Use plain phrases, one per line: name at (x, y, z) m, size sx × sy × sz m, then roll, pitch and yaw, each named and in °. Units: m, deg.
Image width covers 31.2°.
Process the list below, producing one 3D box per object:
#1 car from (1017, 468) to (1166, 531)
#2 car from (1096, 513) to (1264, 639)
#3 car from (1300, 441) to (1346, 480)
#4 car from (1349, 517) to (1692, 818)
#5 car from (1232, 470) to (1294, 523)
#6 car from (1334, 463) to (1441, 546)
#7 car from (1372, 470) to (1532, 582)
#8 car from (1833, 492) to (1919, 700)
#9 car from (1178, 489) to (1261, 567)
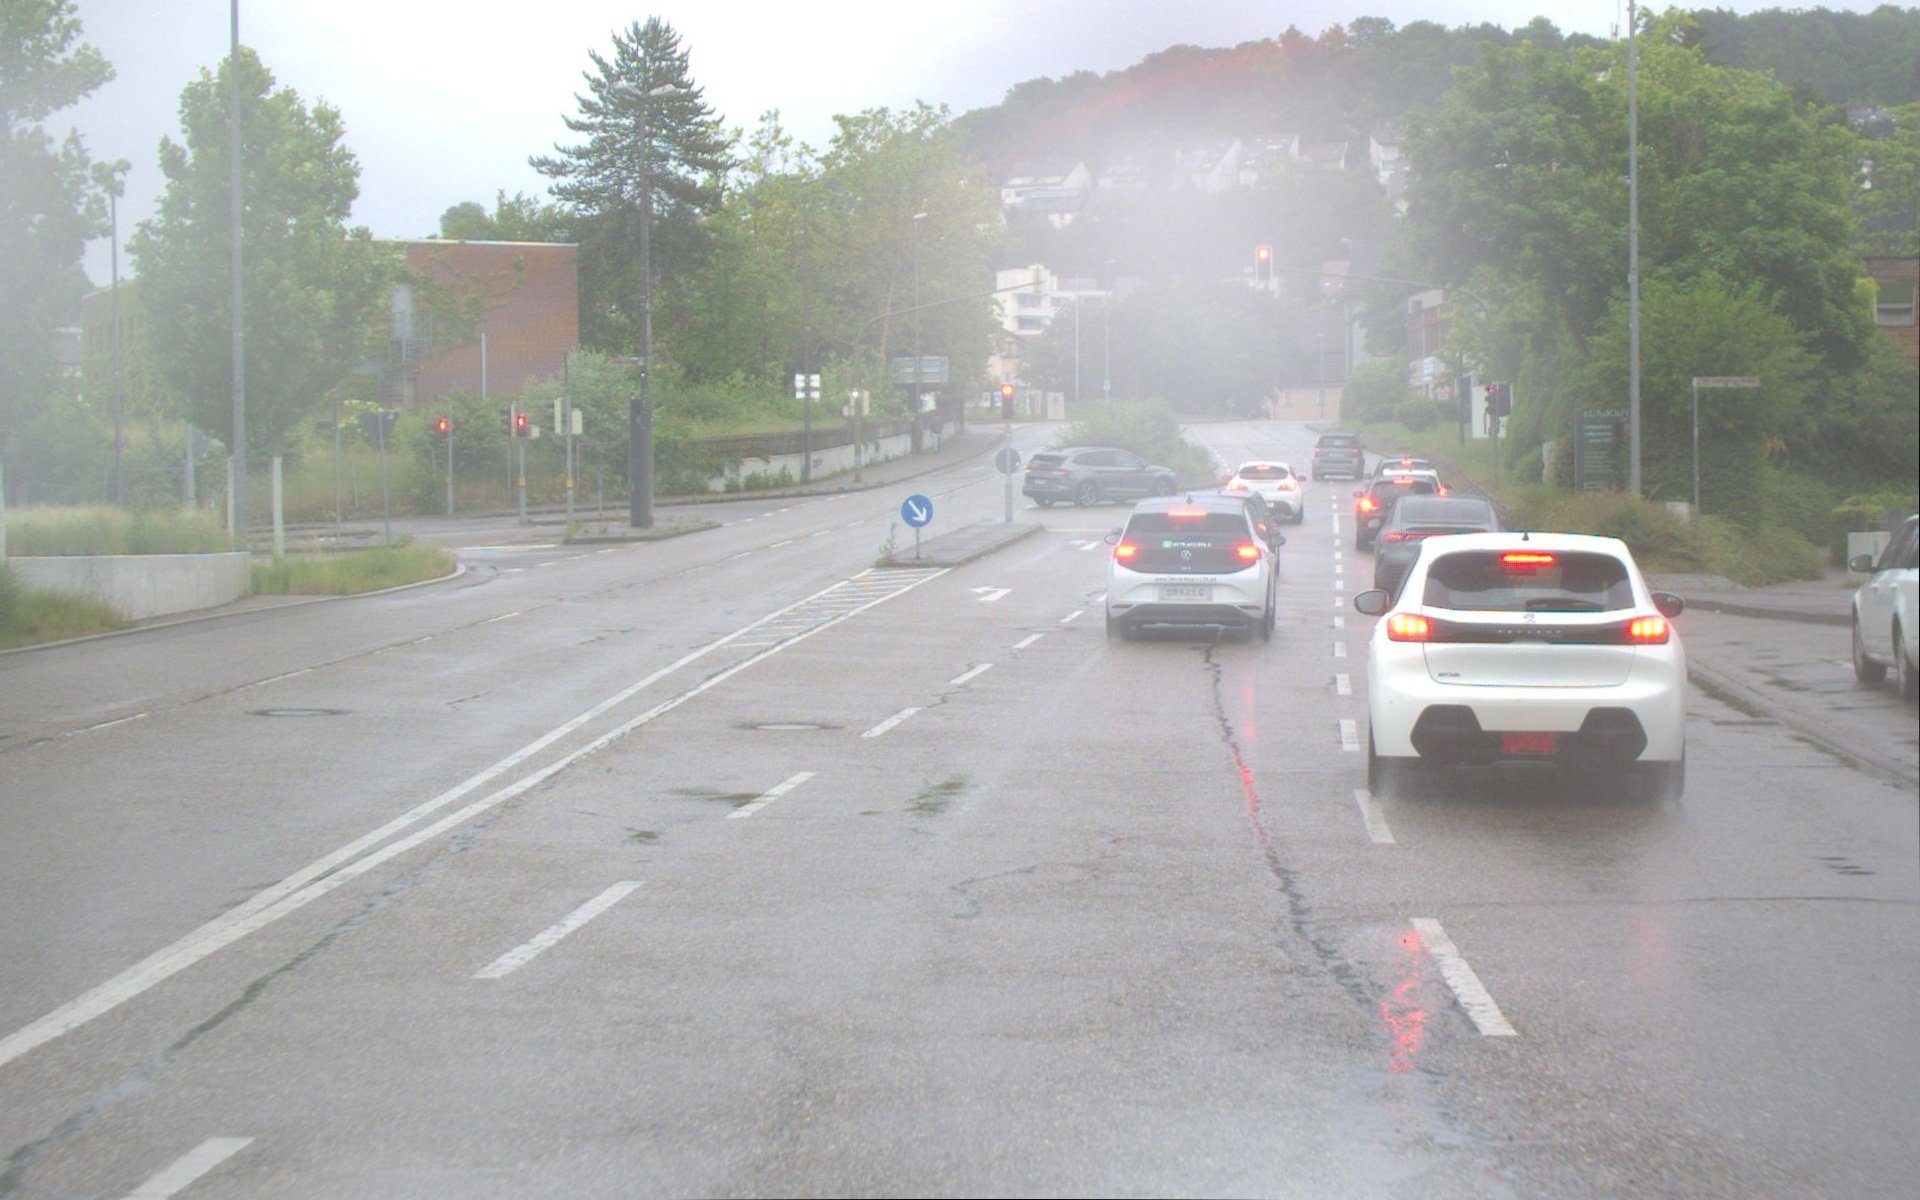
car at (3.527, -2.696, 92.189) m, size 3.514 × 1.564 × 1.800 m, roll -1°, pitch -1°, yaw -28°
car at (2.463, -0.272, 37.986) m, size 1.741 × 1.291 × 3.333 m, roll -1°, pitch 0°, yaw 5°
car at (11.852, -4.554, 112.348) m, size 1.366 × 1.153 × 2.426 m, roll -1°, pitch 0°, yaw 4°
car at (3.132, 0.306, 19.833) m, size 1.691 × 1.514 × 3.932 m, roll 0°, pitch 2°, yaw 5°
car at (7.175, -2.436, 81.586) m, size 1.385 × 1.123 × 2.609 m, roll -2°, pitch -1°, yaw 4°
car at (8.466, -1.872, 68.321) m, size 1.648 × 1.480 × 3.366 m, roll -2°, pitch -1°, yaw 0°
car at (6.778, -1.054, 47.625) m, size 1.734 × 1.383 × 3.353 m, roll 0°, pitch 4°, yaw 0°
car at (8.124, -0.113, 27.420) m, size 1.731 × 1.492 × 4.479 m, roll -2°, pitch 2°, yaw 8°
car at (4.101, -1.131, 54.565) m, size 1.213 × 1.152 × 2.270 m, roll -1°, pitch -1°, yaw 2°
